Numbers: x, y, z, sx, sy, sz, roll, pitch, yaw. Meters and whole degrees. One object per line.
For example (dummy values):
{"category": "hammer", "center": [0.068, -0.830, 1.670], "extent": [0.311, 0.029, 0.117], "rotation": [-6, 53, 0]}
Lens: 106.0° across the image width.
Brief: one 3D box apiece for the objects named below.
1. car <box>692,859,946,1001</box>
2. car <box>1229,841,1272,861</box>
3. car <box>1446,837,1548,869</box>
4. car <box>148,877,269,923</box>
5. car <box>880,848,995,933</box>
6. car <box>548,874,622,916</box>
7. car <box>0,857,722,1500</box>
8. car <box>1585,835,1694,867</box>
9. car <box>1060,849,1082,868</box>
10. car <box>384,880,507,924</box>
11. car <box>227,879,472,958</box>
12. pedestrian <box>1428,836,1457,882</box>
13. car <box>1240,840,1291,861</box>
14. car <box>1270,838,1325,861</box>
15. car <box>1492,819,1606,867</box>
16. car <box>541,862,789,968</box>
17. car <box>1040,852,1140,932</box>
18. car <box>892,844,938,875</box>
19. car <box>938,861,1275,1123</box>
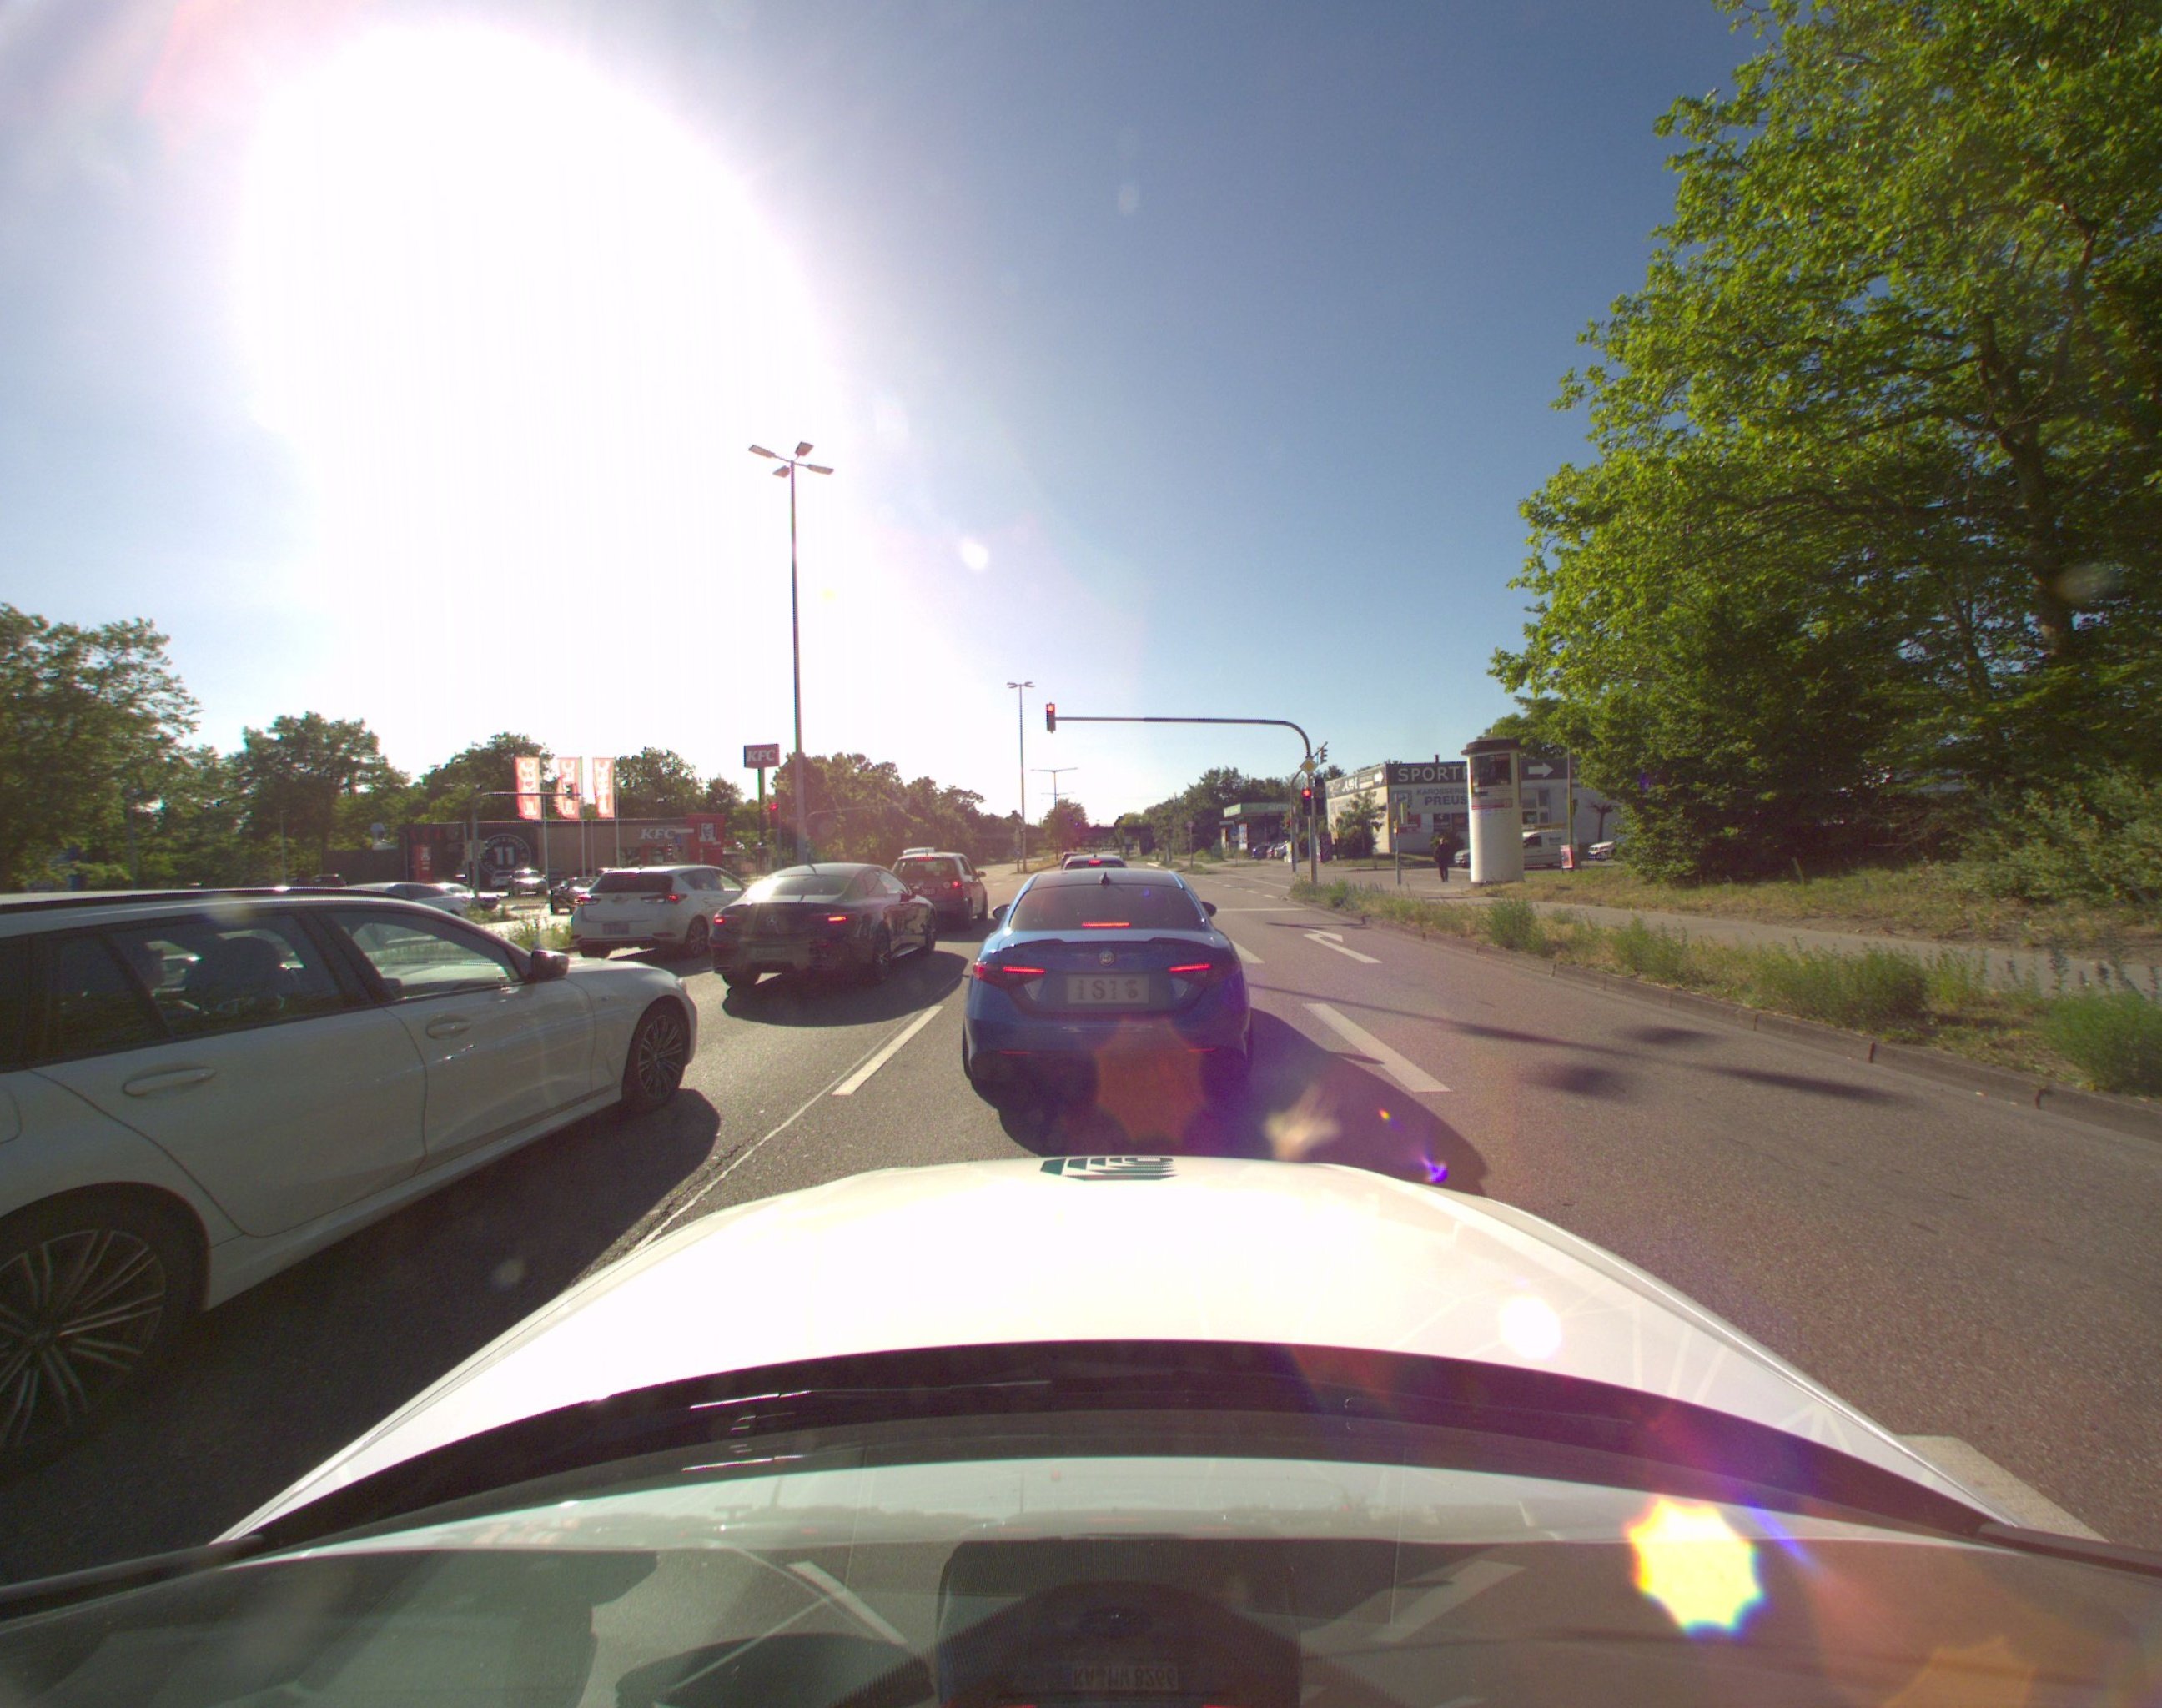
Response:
{"category": "car", "center": [-3.141, 0.819, 10.832], "extent": [1.762, 1.414, 4.463], "rotation": [-2, 0, 2]}
{"category": "car", "center": [15.377, -0.238, 73.970], "extent": [3.489, 1.706, 1.687], "rotation": [-2, 0, -14]}
{"category": "car", "center": [21.950, -0.074, 43.067], "extent": [4.393, 1.553, 1.999], "rotation": [-1, 0, -2]}
{"category": "car", "center": [-41.381, 2.150, 38.656], "extent": [3.962, 2.013, 2.006], "rotation": [-1, 0, 9]}
{"category": "car", "center": [-2.992, 0.707, 17.710], "extent": [1.642, 1.598, 3.933], "rotation": [-2, 0, 2]}
{"category": "car", "center": [-21.092, 1.670, 34.521], "extent": [1.873, 1.544, 4.679], "rotation": [-2, 0, -41]}
{"category": "car", "center": [-3.428, 0.802, 3.360], "extent": [1.762, 1.509, 4.463], "rotation": [-2, 0, 2]}
{"category": "car", "center": [29.285, -0.167, 42.780], "extent": [4.393, 1.553, 1.999], "rotation": [-1, 0, -2]}
{"category": "car", "center": [-0.867, 0.400, 71.647], "extent": [1.813, 1.595, 4.050], "rotation": [-1, 0, 0]}
{"category": "car", "center": [-29.411, 2.194, 37.763], "extent": [4.252, 1.845, 2.004], "rotation": [-2, 0, 7]}
{"category": "car", "center": [-16.927, 1.405, 19.254], "extent": [1.855, 1.429, 4.725], "rotation": [-1, 0, -6]}
{"category": "pedestrian", "center": [14.107, 0.190, 31.821], "extent": [0.818, 1.721, 0.856], "rotation": [-2, 0, 9]}
{"category": "car", "center": [16.034, -0.276, 70.761], "extent": [3.997, 1.706, 1.685], "rotation": [-1, 0, -18]}
{"category": "car", "center": [17.505, -0.347, 65.868], "extent": [3.993, 1.706, 1.687], "rotation": [-2, 0, -15]}
{"category": "car", "center": [22.629, -0.516, 39.468], "extent": [4.393, 2.145, 1.999], "rotation": [-1, 0, -2]}
{"category": "car", "center": [-6.837, 0.905, 14.032], "extent": [1.850, 1.429, 4.405], "rotation": [-2, 0, 2]}
{"category": "car", "center": [0.232, 0.708, 17.196], "extent": [1.859, 1.450, 3.933], "rotation": [-1, 0, 2]}
{"category": "car", "center": [-13.859, 0.412, 68.293], "extent": [2.422, 2.427, 5.833], "rotation": [-1, 0, 2]}
{"category": "car", "center": [0.204, 0.792, 6.517], "extent": [1.859, 1.385, 3.933], "rotation": [-1, 0, 2]}
